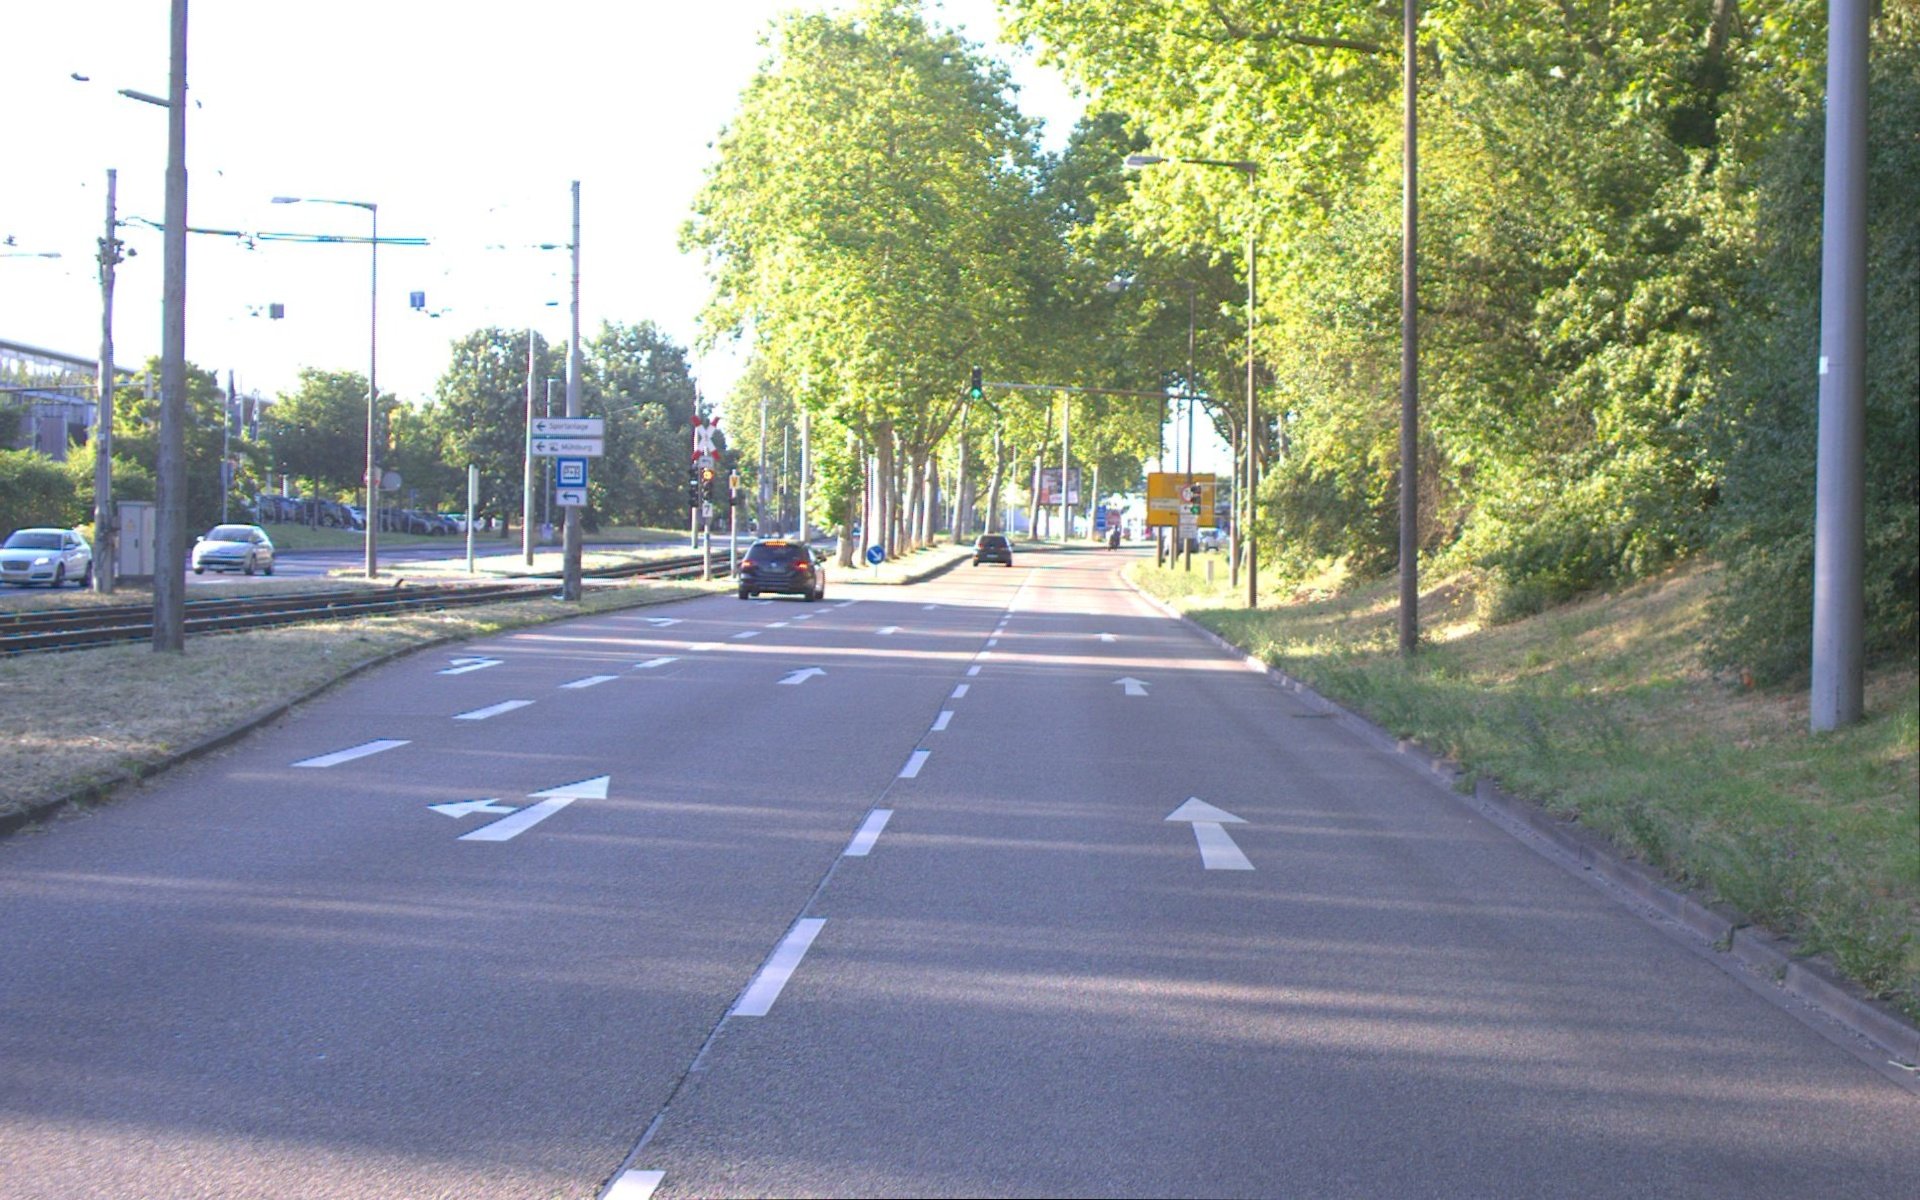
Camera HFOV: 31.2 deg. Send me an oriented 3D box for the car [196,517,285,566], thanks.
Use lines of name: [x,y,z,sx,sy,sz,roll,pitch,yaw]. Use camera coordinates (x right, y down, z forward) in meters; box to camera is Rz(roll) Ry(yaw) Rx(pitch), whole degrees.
car: [-21.589,-1.763,103.334,1.653,1.411,4.259,2,1,1]

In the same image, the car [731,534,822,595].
car: [-4.351,-0.845,81.989,1.792,1.398,3.688,1,0,3]

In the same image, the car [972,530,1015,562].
car: [1.564,-2.451,157.743,1.792,1.398,3.688,2,1,3]

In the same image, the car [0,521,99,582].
car: [-22.504,-1.204,84.314,1.653,1.411,4.259,2,1,0]
